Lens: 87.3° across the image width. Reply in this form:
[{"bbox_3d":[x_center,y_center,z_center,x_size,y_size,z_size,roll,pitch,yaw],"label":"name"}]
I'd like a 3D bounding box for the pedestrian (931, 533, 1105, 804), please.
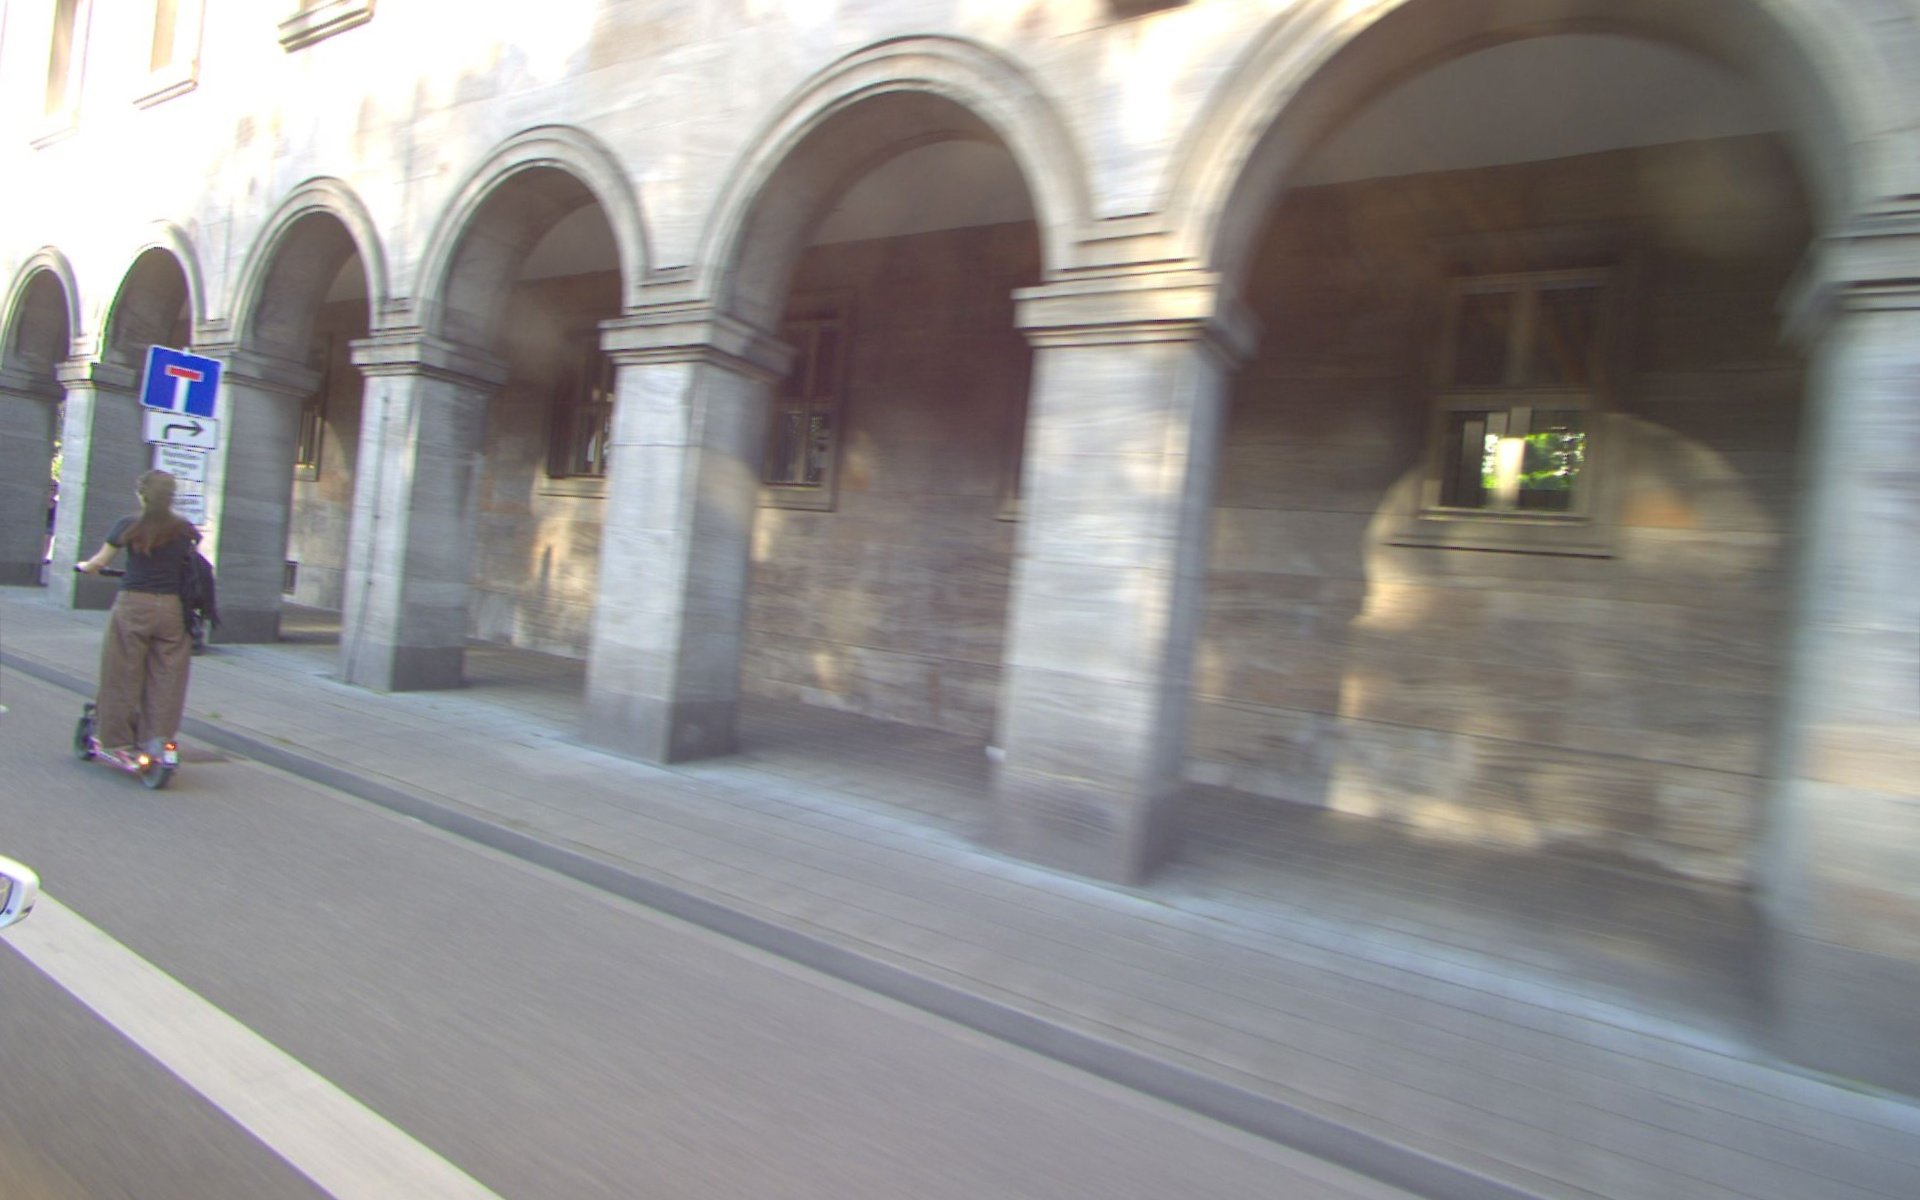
[{"bbox_3d":[0.435,0.487,7.587,0.949,1.857,0.629,7,2,32],"label":"pedestrian"}]

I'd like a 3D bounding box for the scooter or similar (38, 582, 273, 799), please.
[{"bbox_3d":[-4.609,0.489,5.768,1.097,1.044,0.556,7,1,25],"label":"scooter or similar"}]

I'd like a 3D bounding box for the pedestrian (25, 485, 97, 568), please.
[{"bbox_3d":[-19.020,-1.551,21.286,0.936,1.589,0.777,7,1,30],"label":"pedestrian"}]

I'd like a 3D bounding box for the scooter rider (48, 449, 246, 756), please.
[{"bbox_3d":[-4.711,0.010,5.841,0.638,1.652,0.562,7,1,26],"label":"scooter rider"}]
